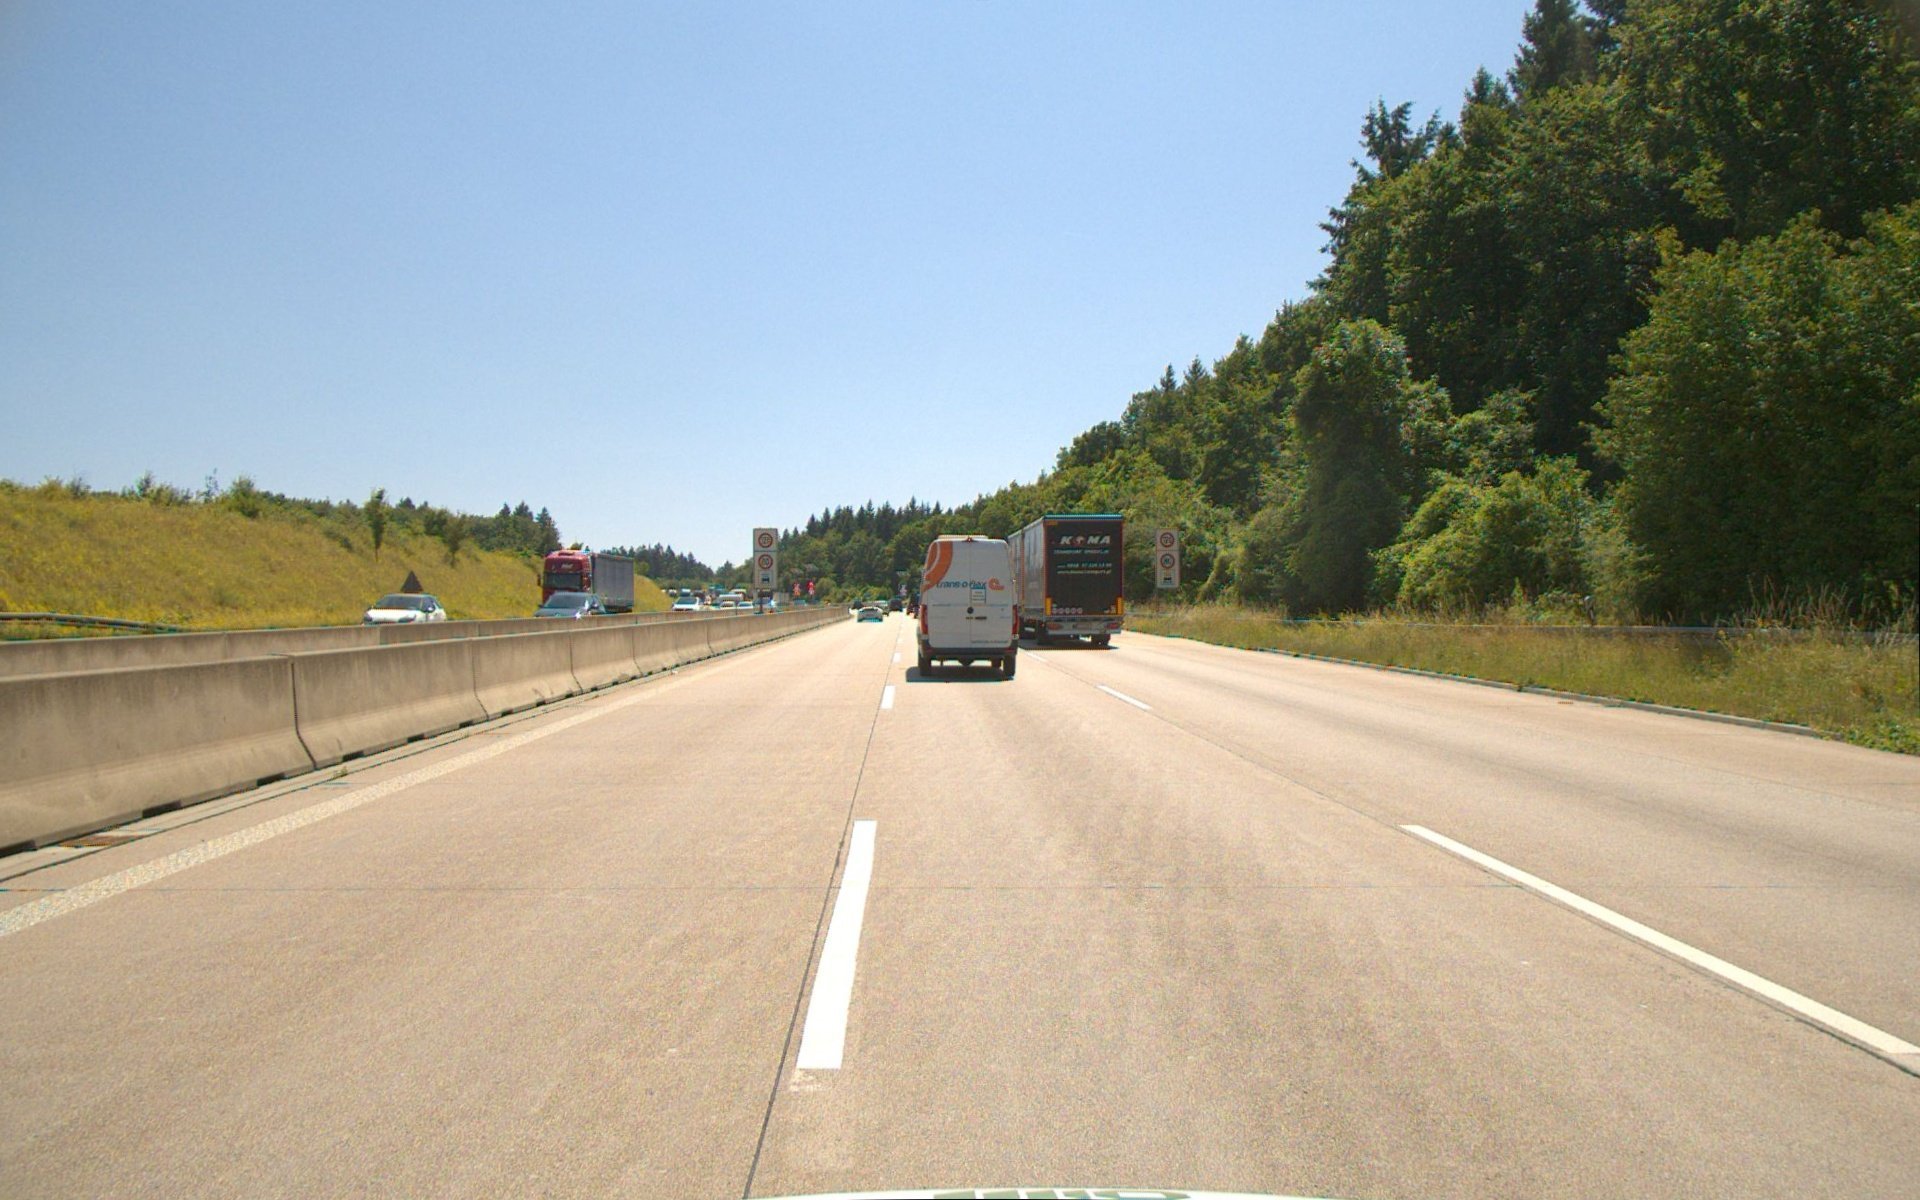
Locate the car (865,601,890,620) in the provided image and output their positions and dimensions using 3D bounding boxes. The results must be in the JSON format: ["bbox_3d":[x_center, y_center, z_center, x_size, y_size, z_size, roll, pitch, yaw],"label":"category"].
[{"bbox_3d":[-7.754,1.024,155.327,1.957,1.713,3.991,1,-1,-9],"label":"car"}]

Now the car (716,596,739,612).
[{"bbox_3d":[-25.156,0.432,179.219,1.953,1.689,5.372,0,0,-2],"label":"car"}]

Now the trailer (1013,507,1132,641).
[{"bbox_3d":[3.629,-0.793,55.690,3.071,4.087,9.085,-1,0,-1],"label":"trailer"}]

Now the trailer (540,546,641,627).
[{"bbox_3d":[-22.091,-0.675,99.855,3.318,4.509,13.918,1,-1,-2],"label":"trailer"}]

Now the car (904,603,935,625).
[{"bbox_3d":[-3.340,1.165,134.963,1.957,1.713,3.990,1,-1,-10],"label":"car"}]

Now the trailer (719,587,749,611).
[{"bbox_3d":[-25.324,-0.091,185.825,2.553,2.677,7.778,0,0,-2],"label":"trailer"}]

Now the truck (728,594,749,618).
[{"bbox_3d":[-33.121,0.930,247.336,2.670,3.473,4.510,1,-1,-2],"label":"truck"}]

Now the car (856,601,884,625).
[{"bbox_3d":[-6.462,0.948,119.014,1.953,1.713,3.998,1,-1,-2],"label":"car"}]

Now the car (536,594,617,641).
[{"bbox_3d":[-13.397,0.604,57.944,1.953,1.565,4.194,1,0,-2],"label":"car"}]

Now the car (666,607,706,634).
[{"bbox_3d":[-17.879,1.336,108.103,1.953,1.722,4.814,0,0,-2],"label":"car"}]

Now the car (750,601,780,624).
[{"bbox_3d":[-15.007,0.916,127.612,1.953,1.722,4.370,0,0,-2],"label":"car"}]

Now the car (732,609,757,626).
[{"bbox_3d":[-20.474,1.634,157.168,1.953,1.586,4.497,0,0,-2],"label":"car"}]

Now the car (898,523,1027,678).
[{"bbox_3d":[-0.057,-0.015,34.121,2.183,2.894,5.449,-1,0,-5],"label":"car"}]

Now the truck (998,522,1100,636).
[{"bbox_3d":[3.362,-0.760,65.546,3.096,4.087,10.603,-1,0,-2],"label":"truck"}]

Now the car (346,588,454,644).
[{"bbox_3d":[-16.840,0.466,49.930,1.953,1.591,3.998,1,0,-2],"label":"car"}]

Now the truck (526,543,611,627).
[{"bbox_3d":[-21.872,-0.763,92.781,3.318,4.509,6.798,1,-1,-2],"label":"truck"}]
